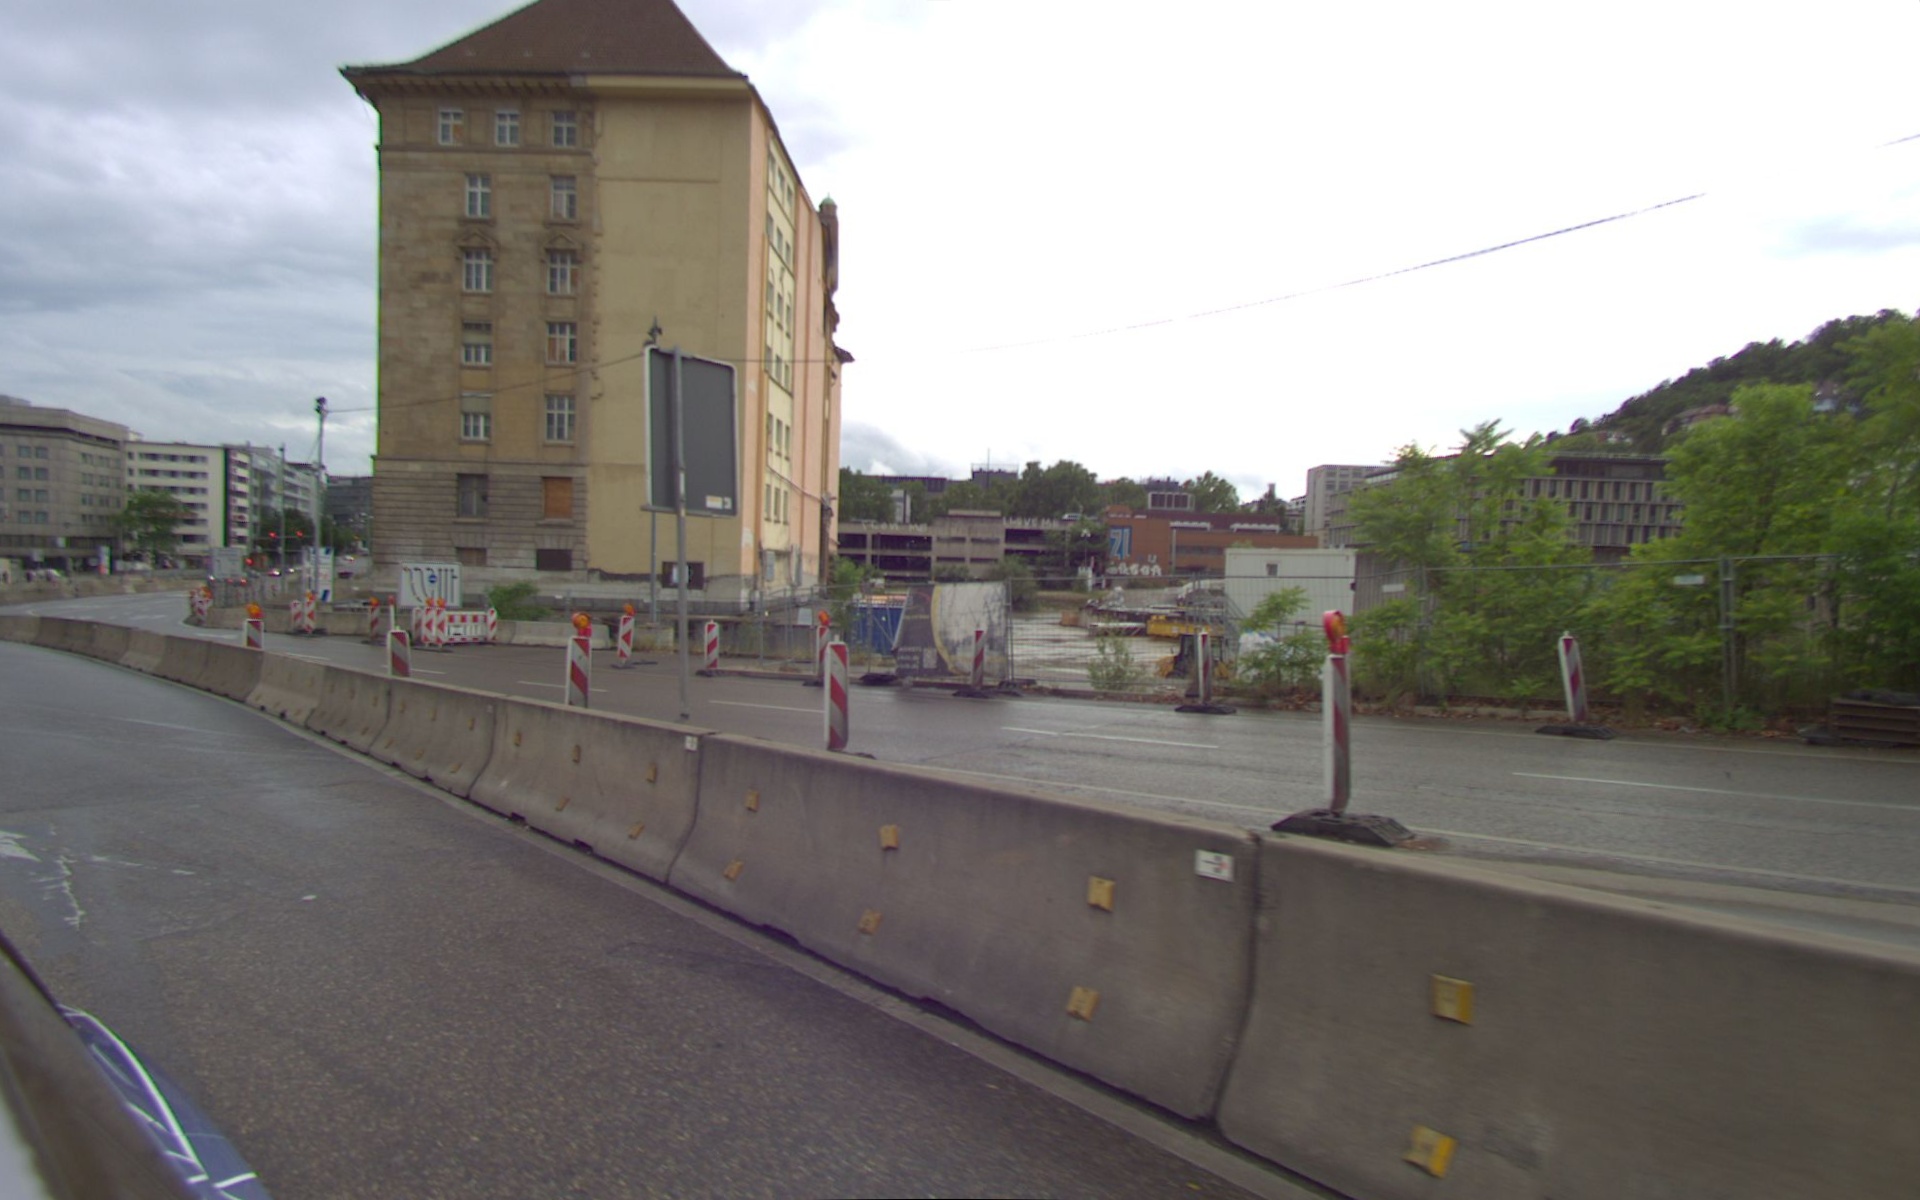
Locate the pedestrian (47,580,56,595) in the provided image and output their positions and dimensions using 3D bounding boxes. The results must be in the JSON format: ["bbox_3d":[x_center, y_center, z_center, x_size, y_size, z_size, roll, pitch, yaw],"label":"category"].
[{"bbox_3d":[-108.024,-1.529,120.338,0.643,1.774,0.549,2,0,-39],"label":"pedestrian"}]

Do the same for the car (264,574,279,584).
[{"bbox_3d":[-130.923,-3.959,192.549,1.965,1.862,4.013,1,1,-29],"label":"car"}]

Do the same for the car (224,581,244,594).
[{"bbox_3d":[-90.864,-1.581,126.677,1.742,1.532,4.400,1,1,-31],"label":"car"}]

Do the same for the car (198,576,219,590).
[{"bbox_3d":[-113.478,-2.516,152.783,1.965,2.029,4.013,1,-1,-28],"label":"car"}]

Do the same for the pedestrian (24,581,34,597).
[{"bbox_3d":[-104.596,-1.258,113.680,0.745,1.774,0.767,2,0,-39],"label":"pedestrian"}]

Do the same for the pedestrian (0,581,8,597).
[{"bbox_3d":[-104.937,-1.218,110.592,1.081,1.774,0.909,2,0,-24],"label":"pedestrian"}]

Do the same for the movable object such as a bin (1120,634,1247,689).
[{"bbox_3d":[8.327,2.249,38.020,1.710,1.689,4.454,0,1,-41],"label":"movable object such as a bin"}]
